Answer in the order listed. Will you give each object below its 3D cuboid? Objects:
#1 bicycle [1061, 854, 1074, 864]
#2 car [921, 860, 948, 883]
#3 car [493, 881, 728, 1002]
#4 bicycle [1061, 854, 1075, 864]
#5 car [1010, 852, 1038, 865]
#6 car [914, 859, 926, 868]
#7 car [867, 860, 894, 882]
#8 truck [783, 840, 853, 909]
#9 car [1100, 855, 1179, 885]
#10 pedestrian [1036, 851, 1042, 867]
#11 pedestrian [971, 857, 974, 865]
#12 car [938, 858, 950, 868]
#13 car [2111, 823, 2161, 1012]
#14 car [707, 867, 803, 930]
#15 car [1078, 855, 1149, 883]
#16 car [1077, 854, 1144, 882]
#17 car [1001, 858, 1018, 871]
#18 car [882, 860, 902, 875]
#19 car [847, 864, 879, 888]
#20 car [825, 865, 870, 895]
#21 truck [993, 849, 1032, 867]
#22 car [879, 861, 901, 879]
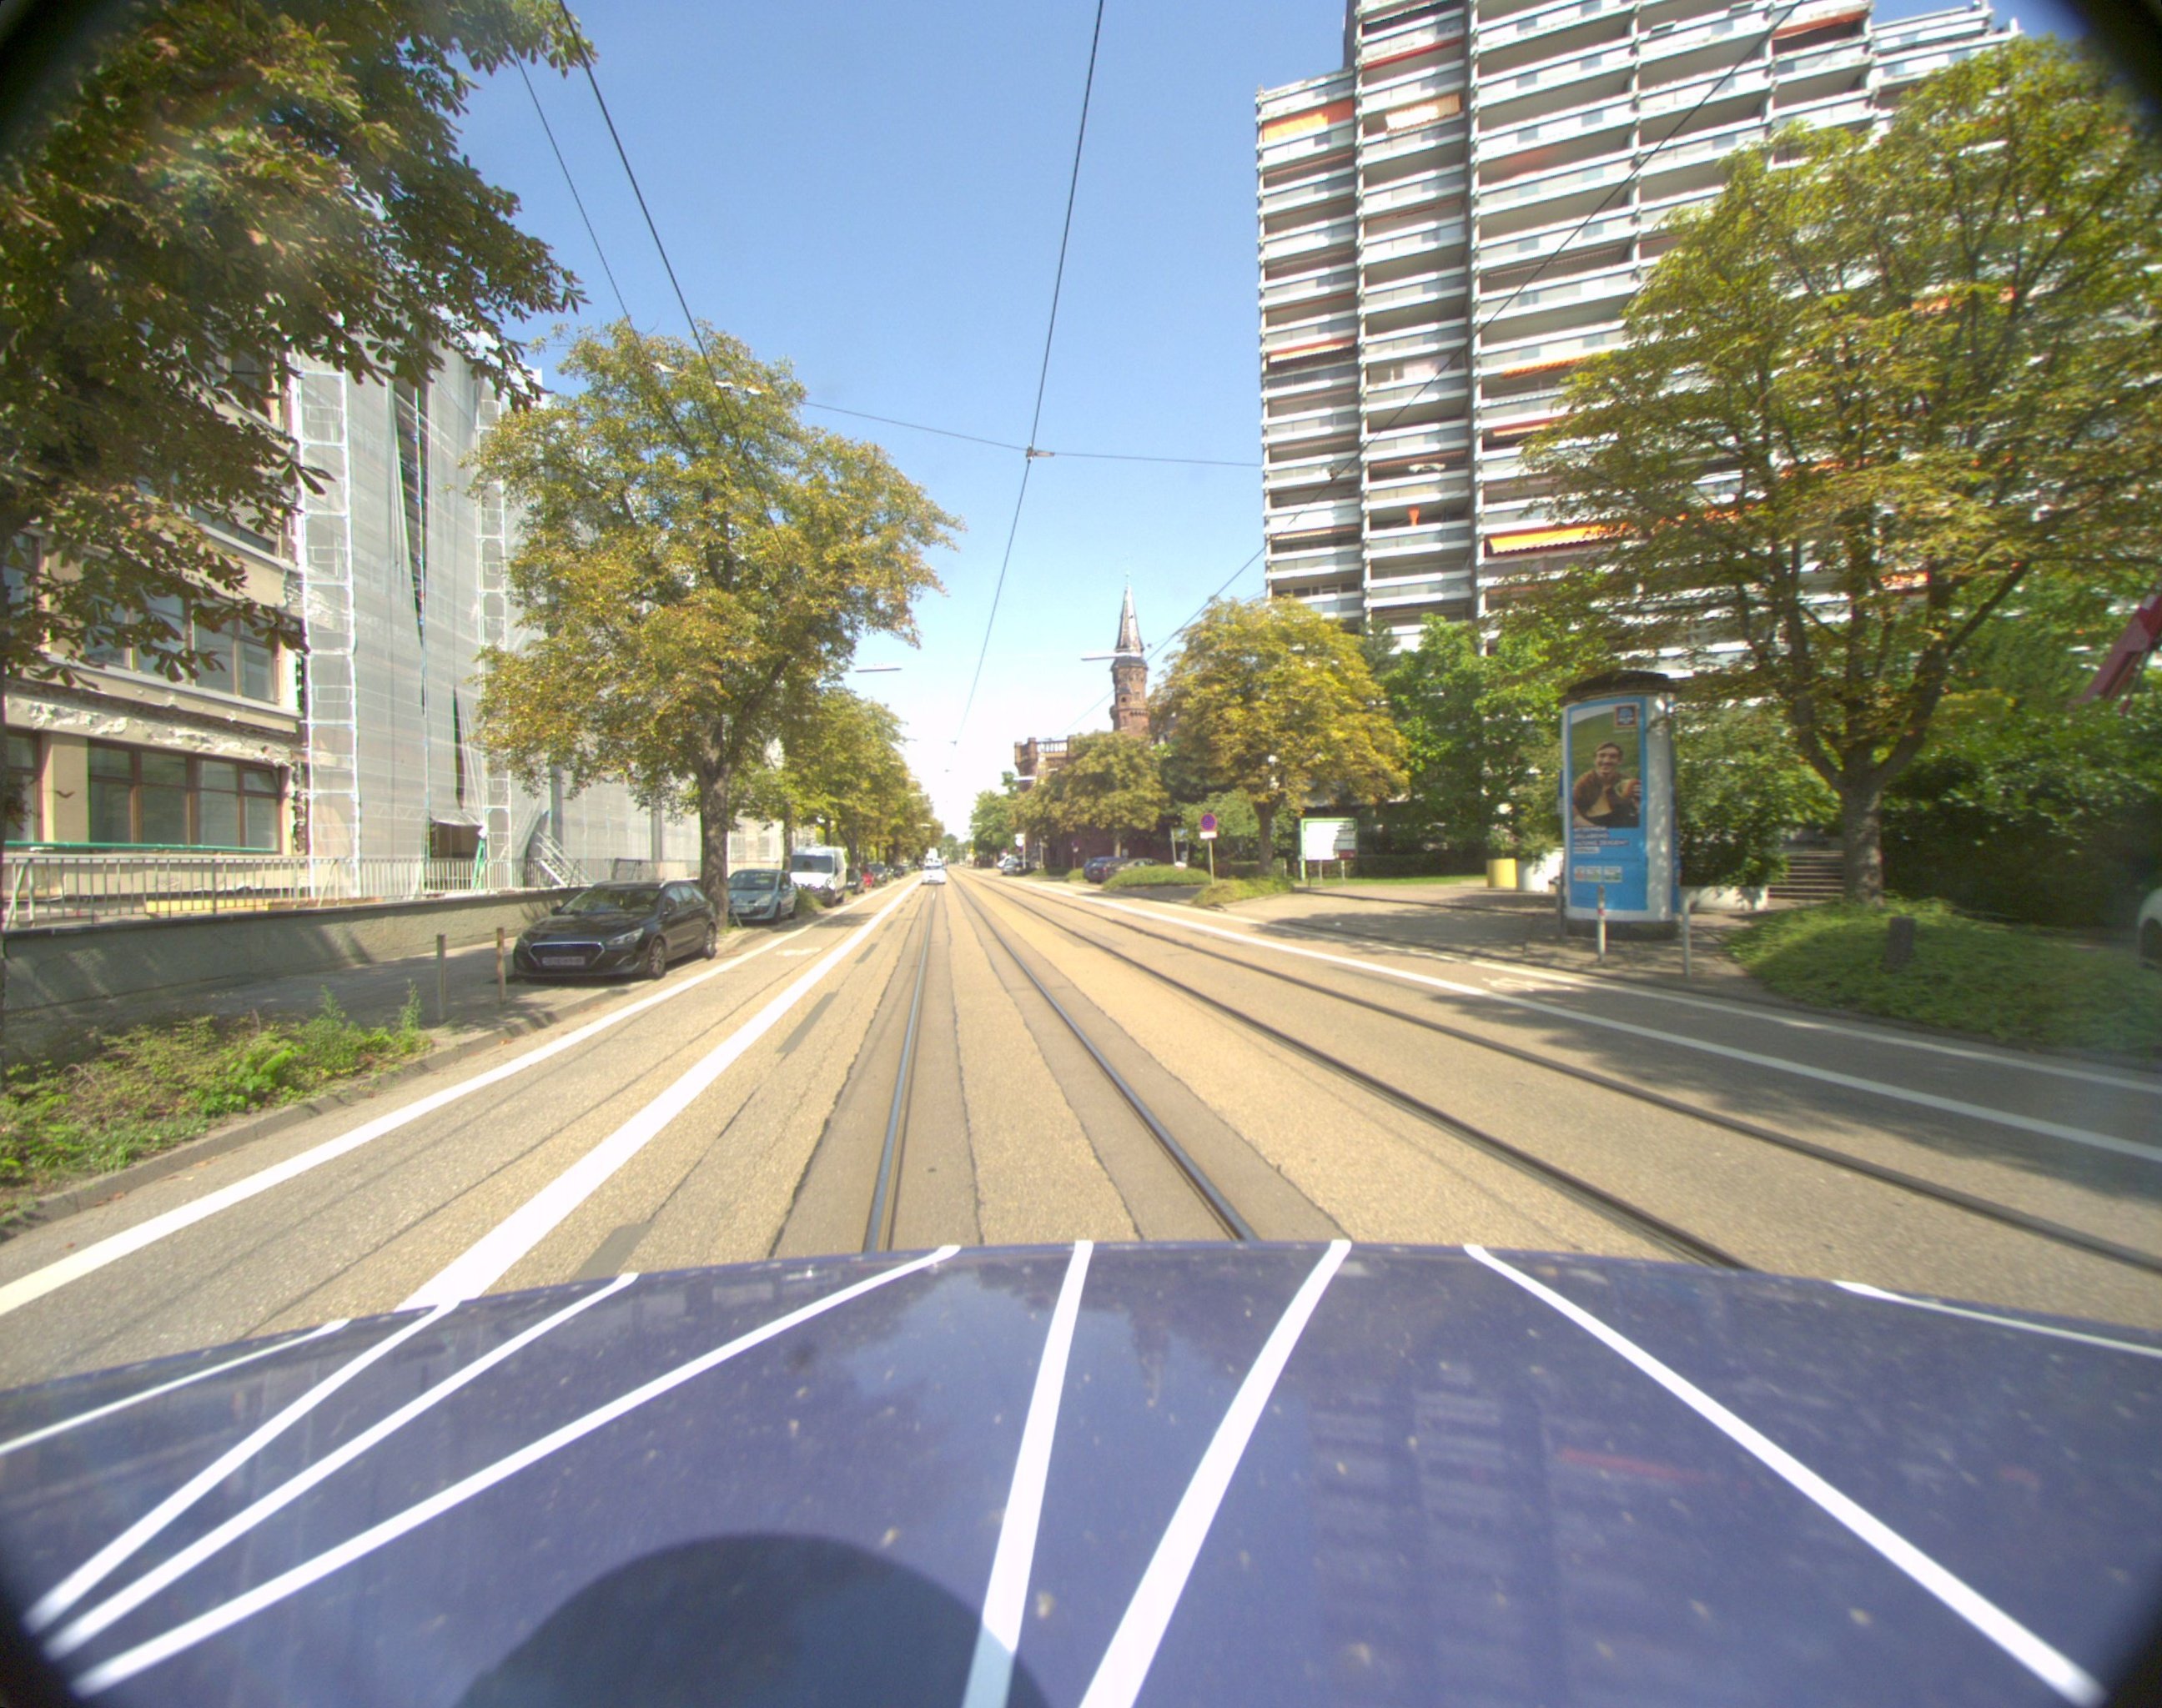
[{"bbox_3d":[-1.627,0.568,90.967,1.450,1.056,0.377,-7,2,-20],"label":"bicycle"},{"bbox_3d":[-10.303,1.198,53.658,1.825,1.483,4.015,-1,0,-10],"label":"car"},{"bbox_3d":[-7.431,1.262,12.614,1.680,1.449,4.659,-1,0,-10],"label":"car"},{"bbox_3d":[-1.529,0.565,90.684,1.450,1.056,0.377,-7,2,-20],"label":"bicycle"},{"bbox_3d":[-9.634,0.789,127.457,4.410,1.787,1.999,-6,1,-8],"label":"car"},{"bbox_3d":[-30.002,1.741,141.452,2.000,1.521,3.997,-2,0,-9],"label":"car"},{"bbox_3d":[-16.431,1.357,62.290,1.768,1.678,4.644,-2,0,-11],"label":"car"},{"bbox_3d":[-10.852,0.788,31.735,1.923,2.584,5.586,-2,0,-11],"label":"truck"},{"bbox_3d":[3.347,0.891,43.215,4.304,1.488,1.776,-2,0,-36],"label":"car"},{"bbox_3d":[-5.371,0.630,96.288,0.504,1.969,0.520,-1,1,34],"label":"pedestrian"},{"bbox_3d":[-26.274,1.741,184.472,0.737,1.837,0.827,-2,0,-9],"label":"pedestrian"},{"bbox_3d":[-20.094,1.301,111.532,1.679,1.477,3.774,-1,0,-10],"label":"car"},{"bbox_3d":[10.078,0.590,5.586,1.820,1.761,4.294,-1,0,37],"label":"car"},{"bbox_3d":[-9.444,1.228,22.368,1.680,1.570,4.167,0,0,-10],"label":"car"},{"bbox_3d":[1.992,0.888,46.097,4.007,1.561,1.776,-2,0,-37],"label":"car"},{"bbox_3d":[1.936,0.890,49.373,4.006,1.638,1.837,-2,0,-33],"label":"car"},{"bbox_3d":[-8.911,1.294,94.867,1.941,1.493,4.511,-2,0,-8],"label":"car"},{"bbox_3d":[-20.221,1.448,81.382,1.646,1.560,4.081,0,-1,-9],"label":"car"},{"bbox_3d":[-14.835,1.463,51.926,1.691,1.491,4.128,-2,0,-10],"label":"car"},{"bbox_3d":[-12.731,1.366,41.594,1.691,1.432,4.799,-2,0,-10],"label":"car"},{"bbox_3d":[-11.963,0.630,133.002,6.515,2.510,2.315,-6,1,-10],"label":"truck"},{"bbox_3d":[-18.251,1.529,72.623,1.691,1.561,3.997,-2,0,-9],"label":"car"}]
